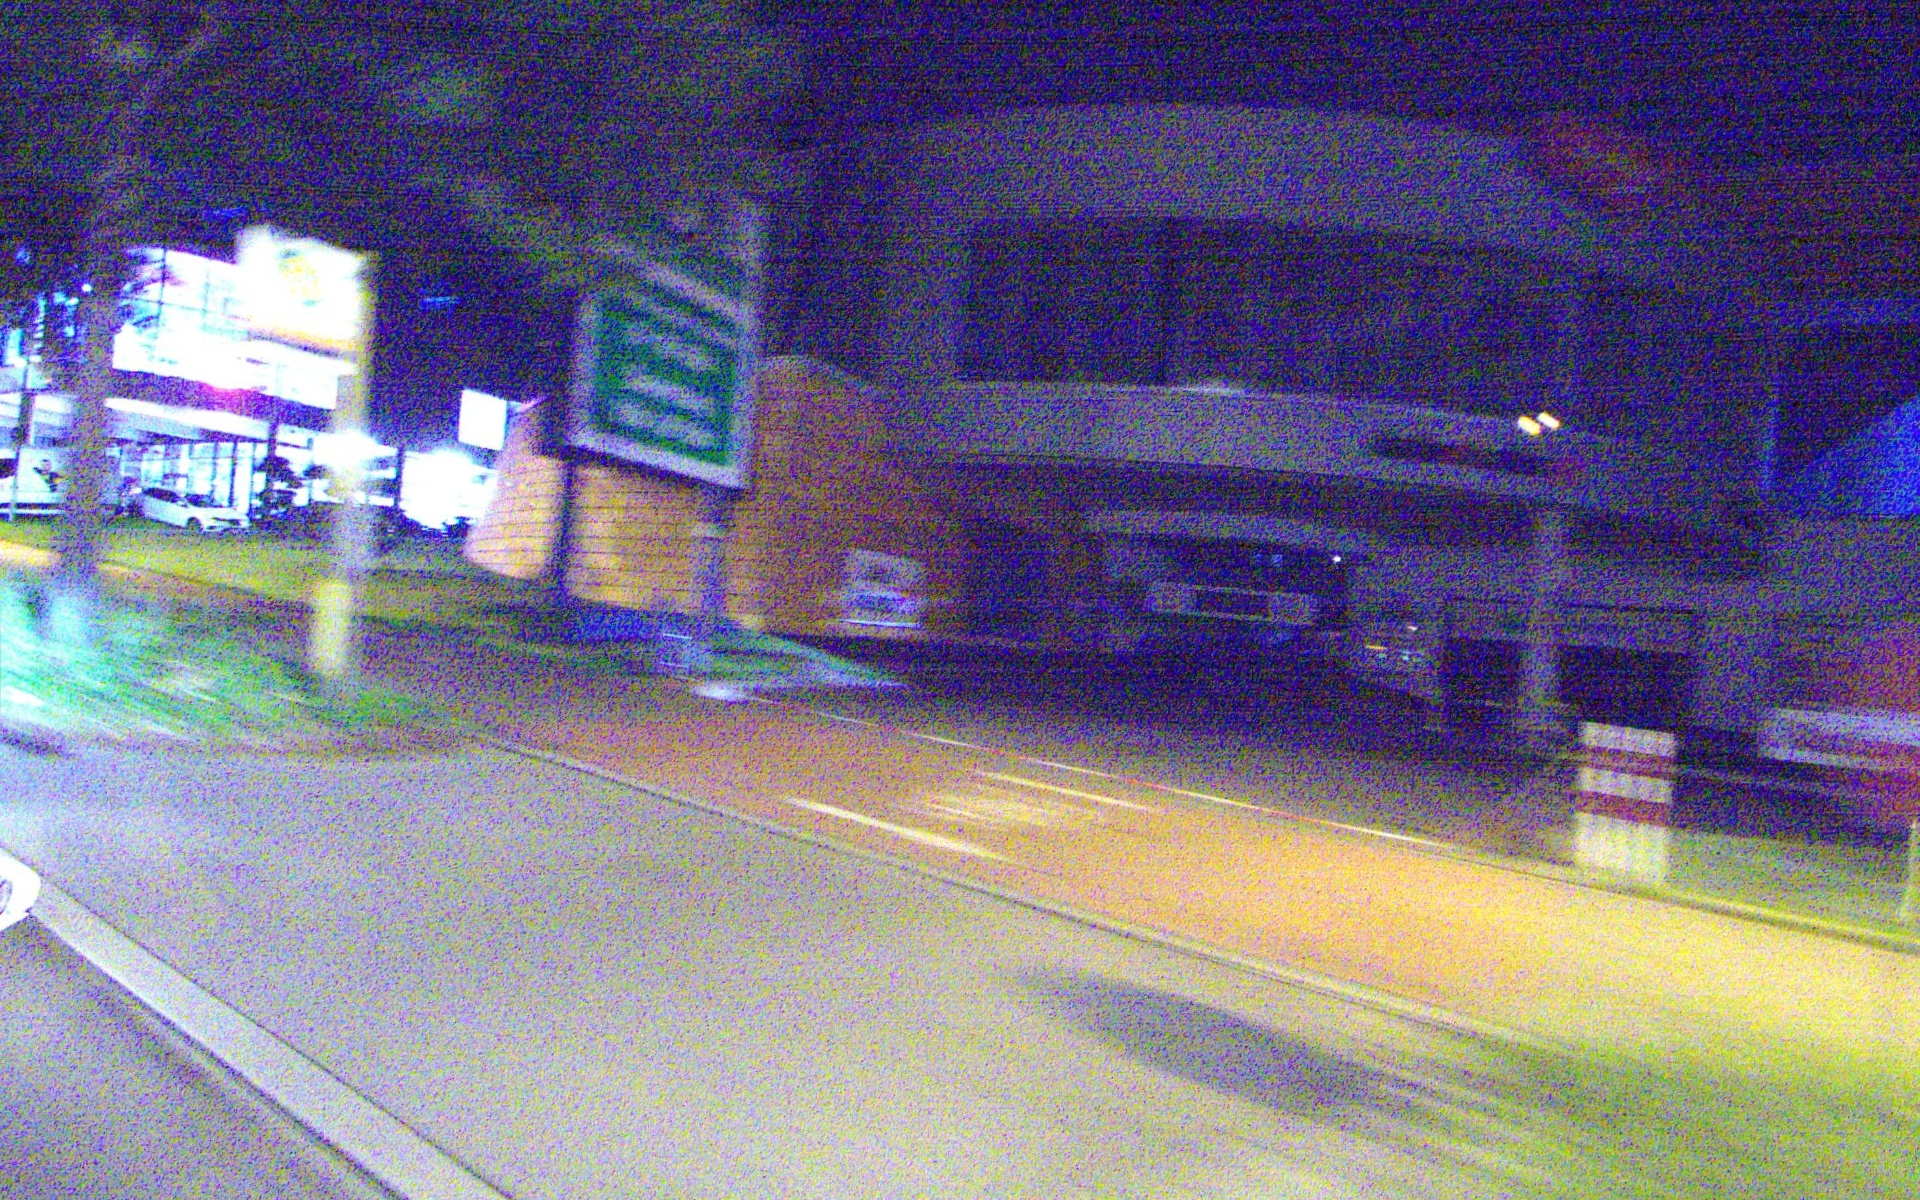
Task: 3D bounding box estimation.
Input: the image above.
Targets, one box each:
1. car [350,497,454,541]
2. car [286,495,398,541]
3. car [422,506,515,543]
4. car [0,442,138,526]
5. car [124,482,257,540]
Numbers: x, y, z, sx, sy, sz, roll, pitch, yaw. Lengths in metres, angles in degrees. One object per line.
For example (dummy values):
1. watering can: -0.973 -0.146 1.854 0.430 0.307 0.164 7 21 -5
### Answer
1. car: -25.991 -3.755 46.900 3.891 1.624 1.780 6 5 9
2. car: -26.994 -3.577 43.975 3.891 1.600 1.797 6 5 9
3. car: -24.437 -3.756 50.044 3.804 1.353 1.657 6 1 9
4. car: -31.898 -3.986 34.113 2.240 2.565 6.027 7 4 15
5. car: -29.437 -3.387 38.532 3.891 1.735 1.810 6 2 9
